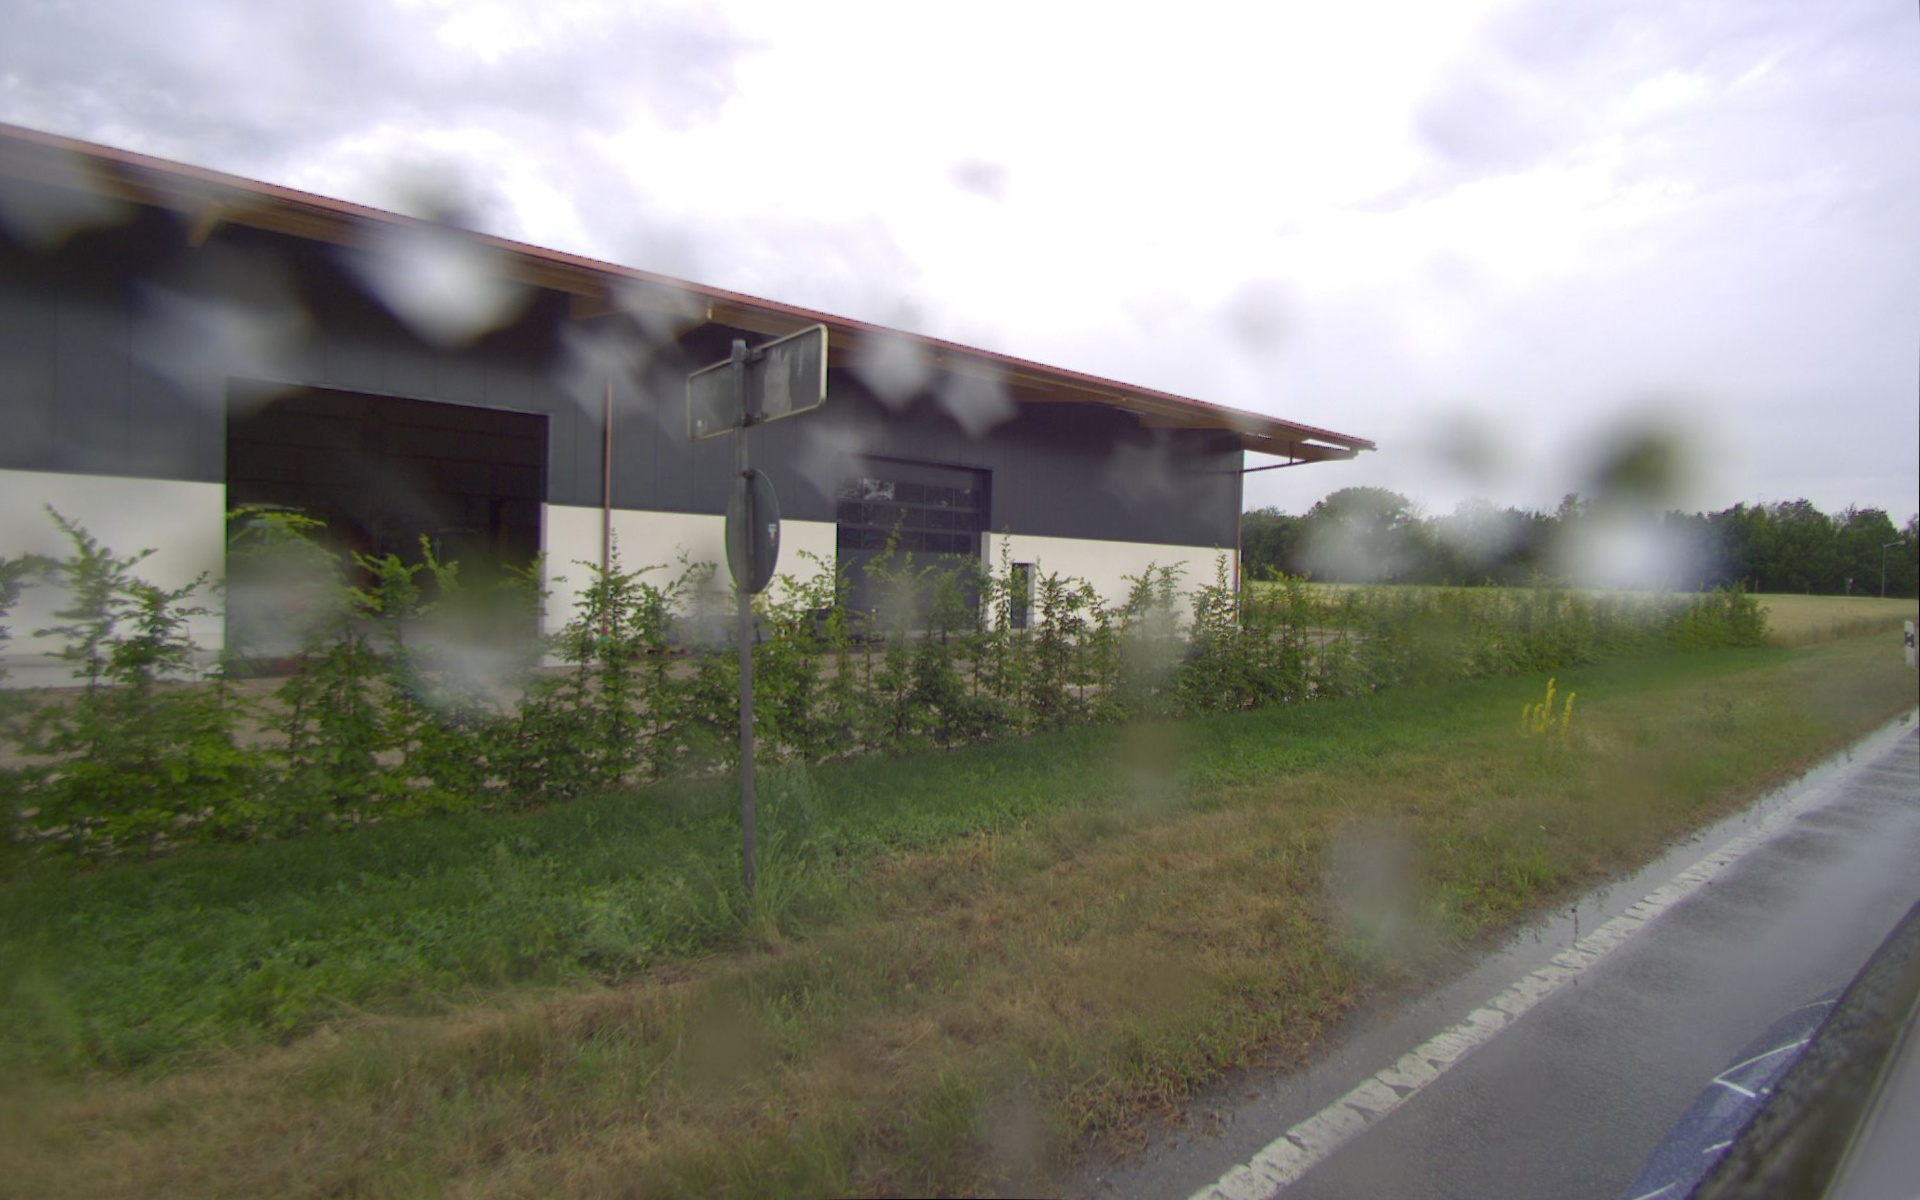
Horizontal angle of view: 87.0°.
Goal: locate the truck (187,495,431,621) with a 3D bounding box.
[{"bbox_3d":[-17.485,-1.083,27.329,5.251,3.050,2.495,0,2,-41],"label":"truck"}]
